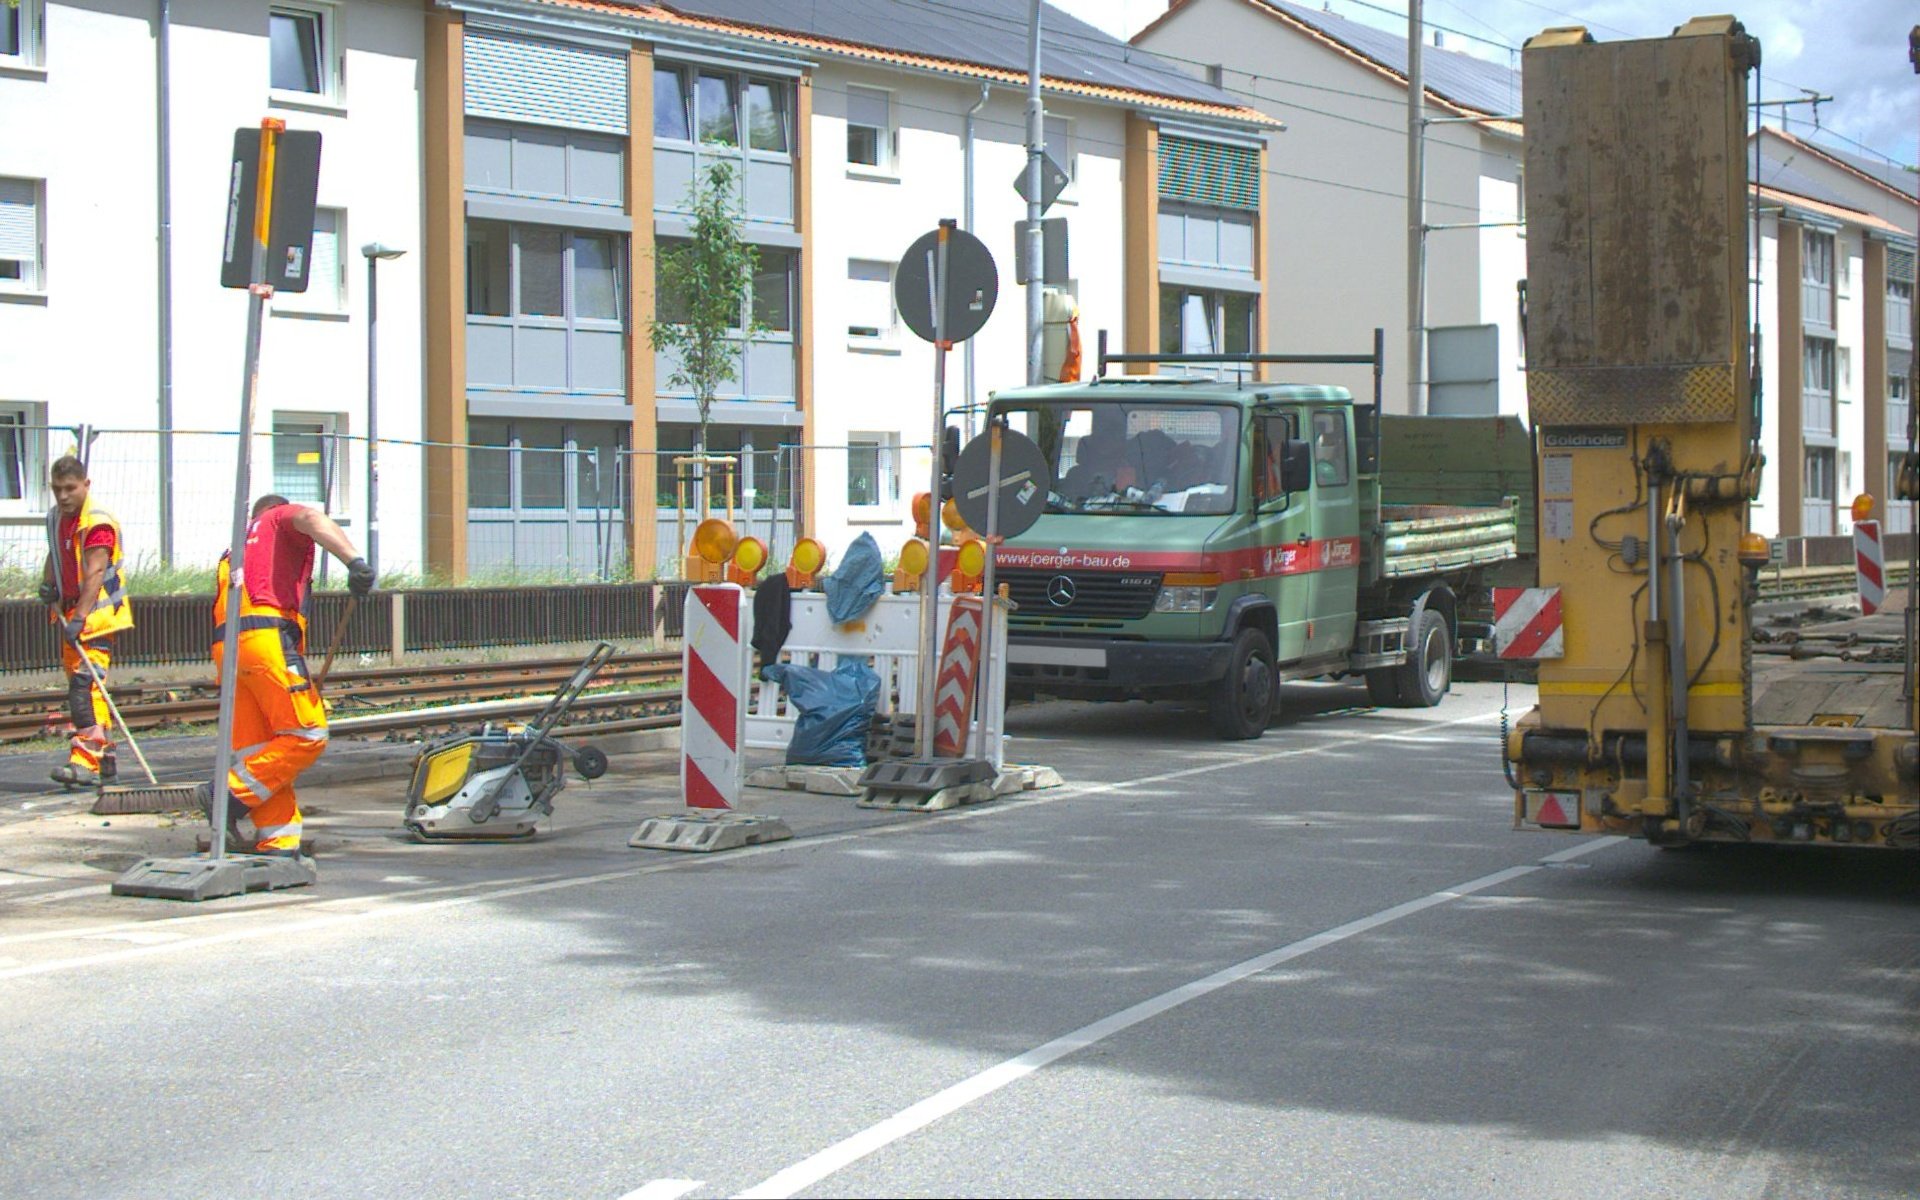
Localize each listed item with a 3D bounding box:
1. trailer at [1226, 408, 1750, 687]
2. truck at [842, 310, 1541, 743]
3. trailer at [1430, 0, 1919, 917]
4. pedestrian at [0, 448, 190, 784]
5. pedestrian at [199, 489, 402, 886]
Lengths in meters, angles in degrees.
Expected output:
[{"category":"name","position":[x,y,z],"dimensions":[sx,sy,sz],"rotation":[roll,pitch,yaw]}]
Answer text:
[{"category":"trailer","position":[4.854,-0.538,30.577],"dimensions":[2.666,2.206,6.238],"rotation":[2,2,28]},{"category":"truck","position":[1.902,-0.582,25.000],"dimensions":[2.666,2.715,6.386],"rotation":[2,2,28]},{"category":"trailer","position":[5.584,-0.662,18.143],"dimensions":[2.827,3.512,11.036],"rotation":[1,1,26]},{"category":"pedestrian","position":[-4.400,0.081,17.462],"dimensions":[0.704,1.662,0.828],"rotation":[0,-1,6]},{"category":"pedestrian","position":[-2.693,0.331,13.978],"dimensions":[0.762,1.546,0.901],"rotation":[0,2,-14]}]
